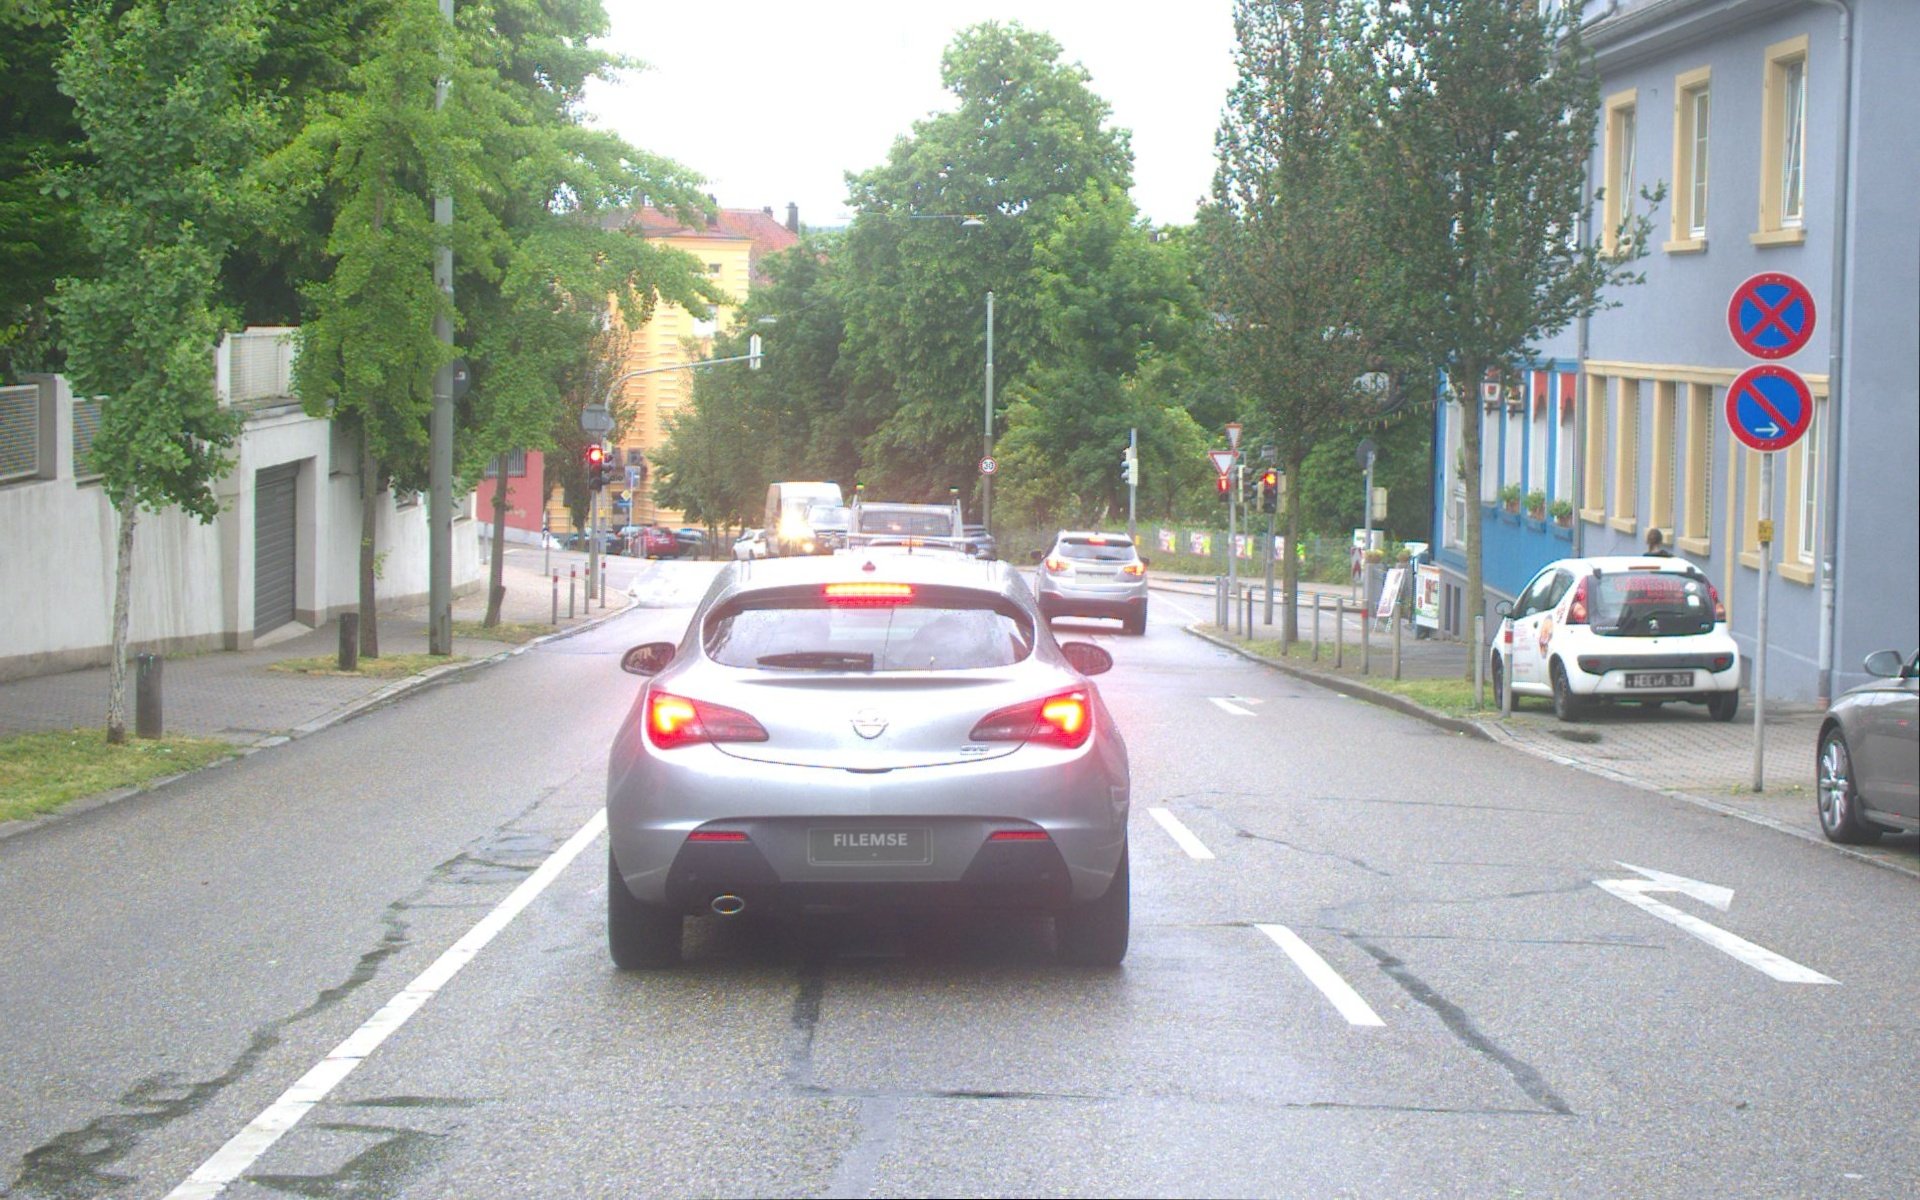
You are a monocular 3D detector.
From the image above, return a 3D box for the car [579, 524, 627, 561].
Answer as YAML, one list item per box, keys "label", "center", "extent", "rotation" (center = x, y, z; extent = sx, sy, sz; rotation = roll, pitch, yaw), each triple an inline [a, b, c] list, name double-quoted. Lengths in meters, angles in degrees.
- label: "car"
  center: [-16.215, -2.604, 155.990]
  extent: [1.722, 1.632, 3.881]
  rotation: [2, 0, -12]

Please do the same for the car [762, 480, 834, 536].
- label: "car"
  center: [-4.902, -2.752, 103.571]
  extent: [1.722, 1.632, 3.881]
  rotation: [0, 1, -9]

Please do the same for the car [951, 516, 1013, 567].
- label: "car"
  center: [0.712, -1.914, 112.253]
  extent: [1.722, 1.632, 3.880]
  rotation: [0, 1, -4]

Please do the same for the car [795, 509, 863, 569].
- label: "car"
  center: [-3.648, -1.694, 95.950]
  extent: [1.870, 1.632, 3.880]
  rotation: [0, 1, -2]

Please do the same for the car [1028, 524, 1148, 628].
- label: "car"
  center: [2.143, -0.432, 58.484]
  extent: [1.722, 1.708, 3.880]
  rotation: [0, 1, -3]

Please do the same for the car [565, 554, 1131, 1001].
- label: "car"
  center: [-0.451, 0.561, 13.232]
  extent: [1.837, 1.429, 3.880]
  rotation: [1, 1, -3]

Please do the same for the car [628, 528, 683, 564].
- label: "car"
  center: [-14.322, -2.539, 161.426]
  extent: [1.722, 1.632, 3.881]
  rotation: [0, 1, -18]

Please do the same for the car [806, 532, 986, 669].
- label: "car"
  center: [-0.782, -0.038, 40.449]
  extent: [1.962, 1.443, 4.306]
  rotation: [2, 1, -2]

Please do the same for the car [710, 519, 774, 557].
- label: "car"
  center: [-9.073, -2.576, 142.669]
  extent: [1.722, 1.538, 3.881]
  rotation: [0, 1, -18]

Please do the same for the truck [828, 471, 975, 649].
- label: "truck"
  center: [-0.894, -0.614, 50.443]
  extent: [1.962, 2.420, 4.936]
  rotation: [2, 1, -2]

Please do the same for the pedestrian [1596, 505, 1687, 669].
- label: "pedestrian"
  center: [7.311, -0.147, 36.904]
  extent: [0.783, 1.723, 0.651]
  rotation: [2, 1, -1]

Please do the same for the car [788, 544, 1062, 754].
- label: "car"
  center: [-0.325, 0.329, 27.412]
  extent: [1.962, 1.443, 4.306]
  rotation: [2, 1, -2]

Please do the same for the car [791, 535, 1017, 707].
- label: "car"
  center: [-0.568, 0.150, 32.790]
  extent: [1.962, 1.443, 4.306]
  rotation: [2, 1, -2]

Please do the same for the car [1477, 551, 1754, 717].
- label: "car"
  center: [6.035, 0.272, 32.065]
  extent: [1.722, 1.443, 3.880]
  rotation: [0, 1, -2]

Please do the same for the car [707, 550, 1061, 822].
- label: "car"
  center: [-0.499, 0.460, 21.691]
  extent: [1.962, 1.443, 4.306]
  rotation: [2, 1, -2]

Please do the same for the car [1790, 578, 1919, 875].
- label: "car"
  center: [5.780, 0.662, 17.186]
  extent: [1.962, 1.443, 4.527]
  rotation: [1, 1, -3]
